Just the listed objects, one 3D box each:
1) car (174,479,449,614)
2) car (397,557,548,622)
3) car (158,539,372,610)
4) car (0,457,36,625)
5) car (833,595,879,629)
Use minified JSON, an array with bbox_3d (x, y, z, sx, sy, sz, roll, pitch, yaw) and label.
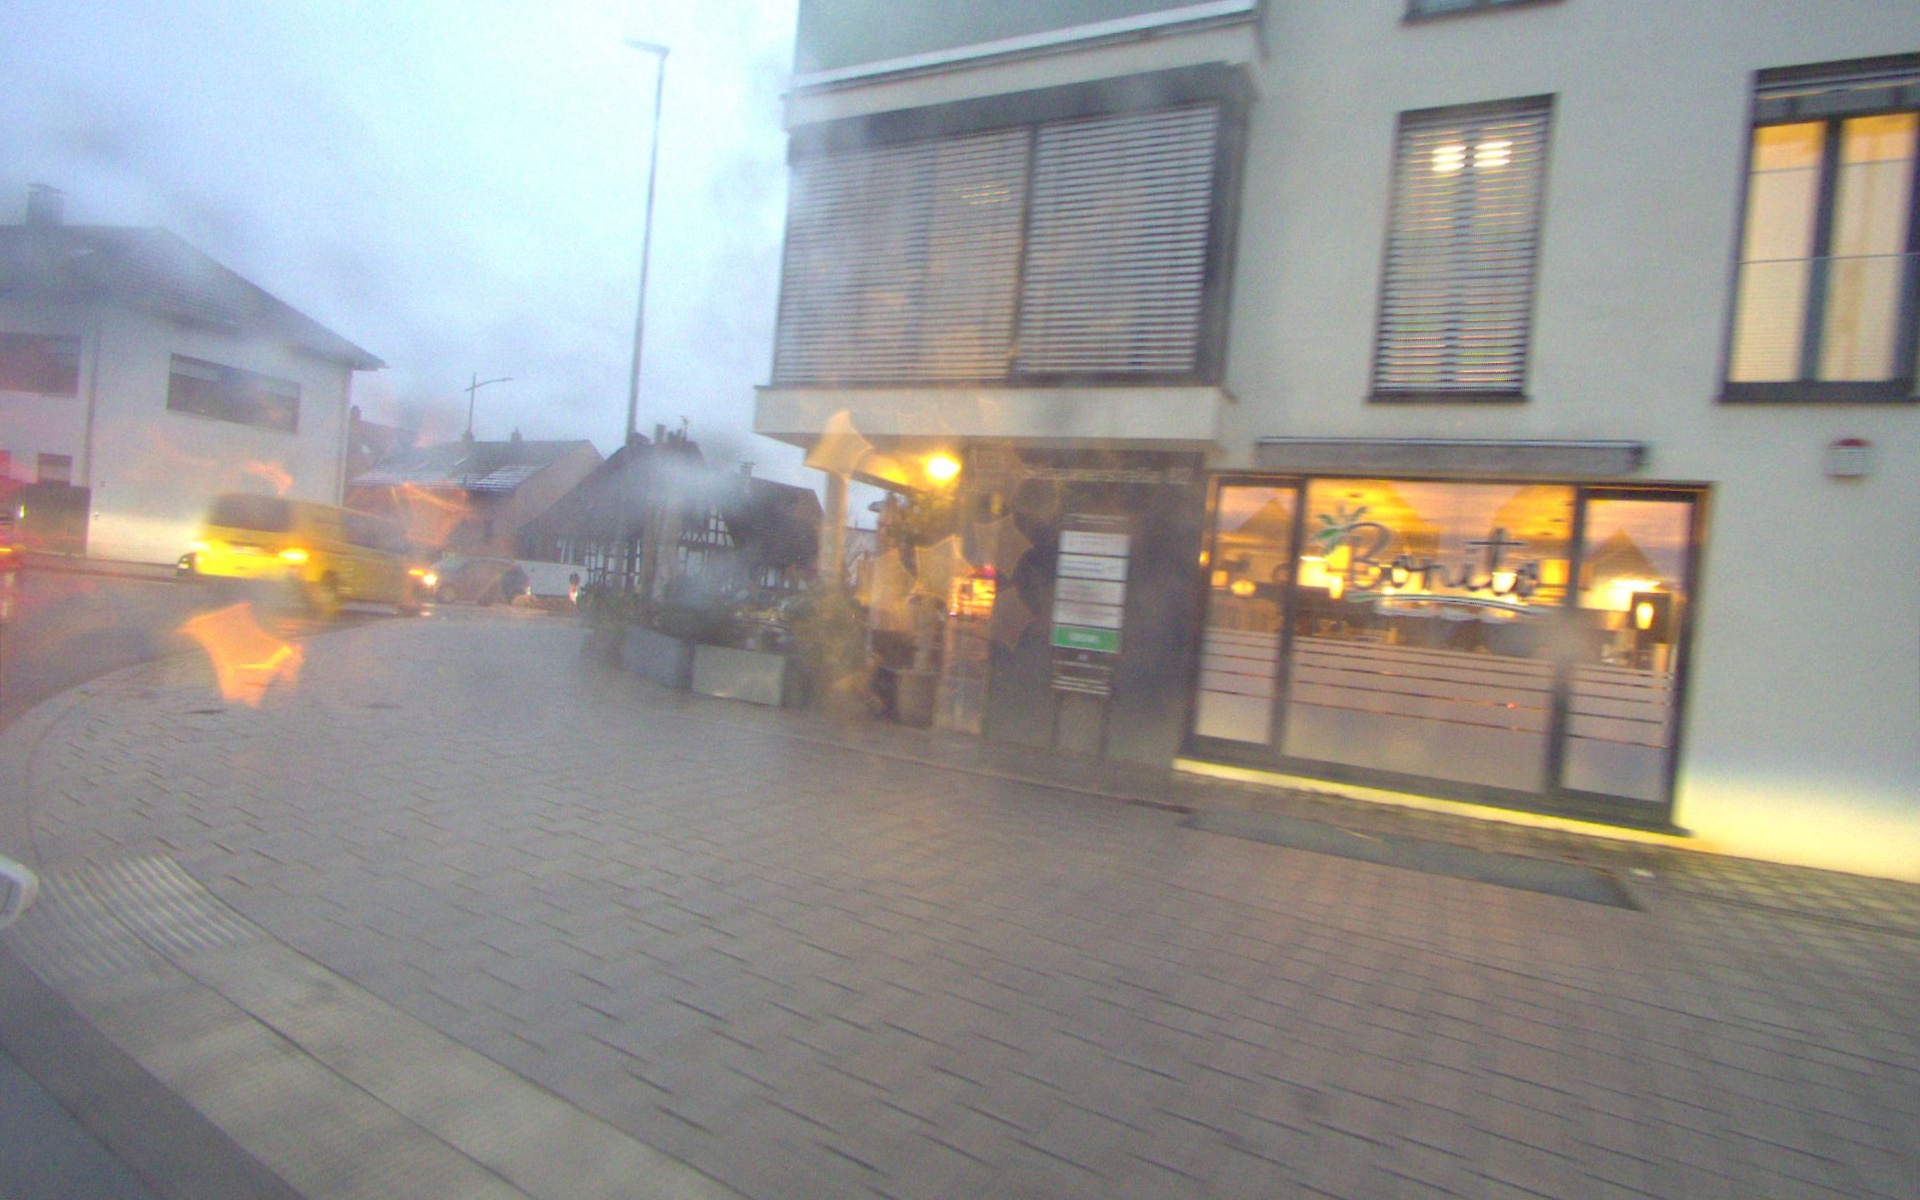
[{"bbox_3d":[-12.089,-0.861,19.283,1.963,2.038,4.900,6,-1,-1],"label":"car"},{"bbox_3d":[-15.275,-0.289,31.721,1.667,1.570,3.997,5,-2,27],"label":"car"},{"bbox_3d":[-18.137,-0.625,26.472,1.819,1.400,4.231,3,-2,27],"label":"car"},{"bbox_3d":[-9.603,-0.589,8.466,1.902,1.635,3.915,7,0,-32],"label":"car"},{"bbox_3d":[-5.505,0.676,53.573,1.664,1.526,4.261,5,-1,3],"label":"car"}]
